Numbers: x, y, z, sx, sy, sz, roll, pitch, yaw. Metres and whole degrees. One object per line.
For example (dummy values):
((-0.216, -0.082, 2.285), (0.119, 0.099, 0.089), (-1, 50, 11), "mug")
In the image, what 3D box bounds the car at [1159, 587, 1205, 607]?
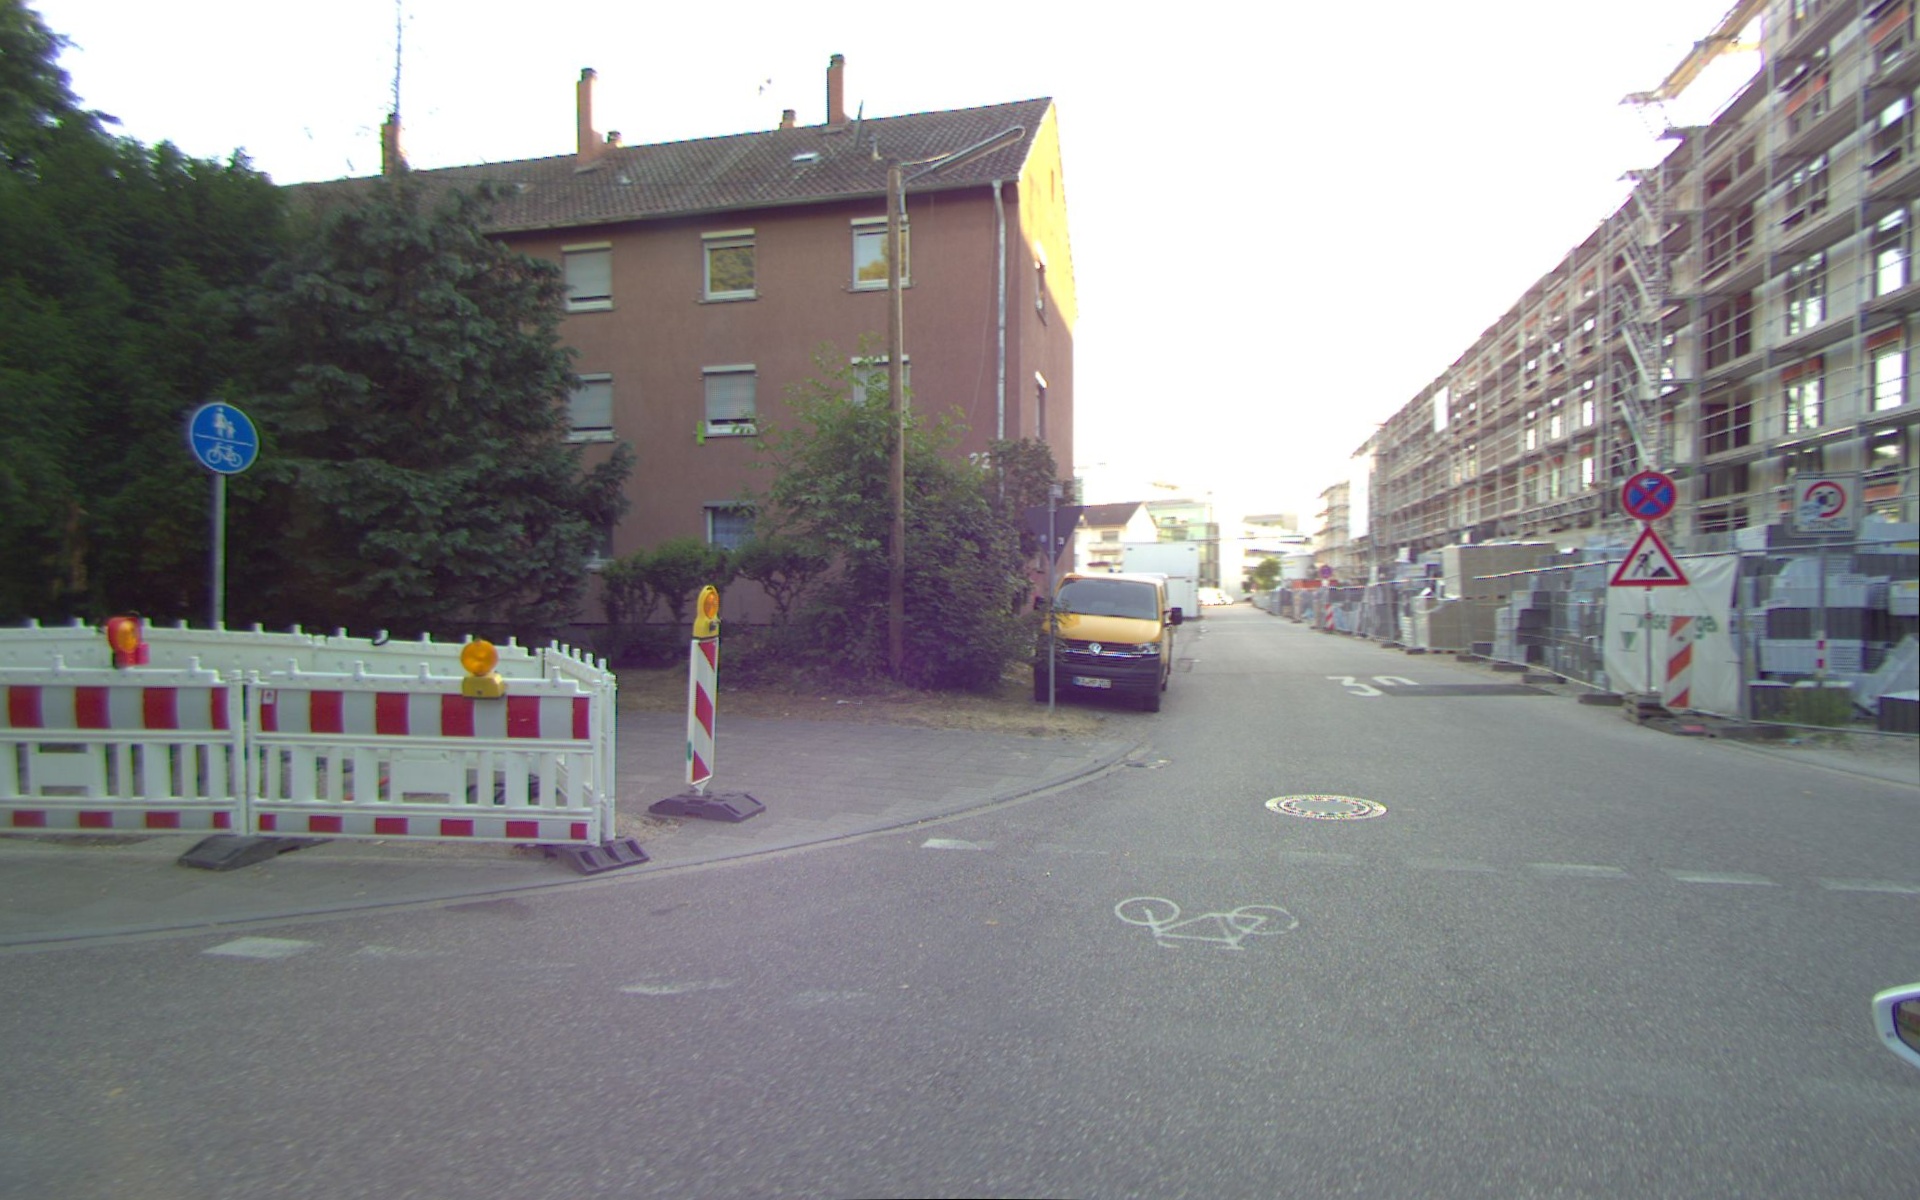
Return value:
((31.086, -0.464, 140.846), (6.221, 2.778, 2.001), (0, 1, 15), "car")

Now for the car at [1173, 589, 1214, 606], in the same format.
((36.201, -0.409, 155.755), (5.831, 2.523, 1.998), (0, 1, 25), "car")

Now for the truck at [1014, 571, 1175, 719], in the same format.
((2.399, 0.603, 16.422), (2.000, 1.938, 5.664), (2, 0, 13), "truck")

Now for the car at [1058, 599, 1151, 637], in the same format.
((6.164, 0.740, 42.754), (3.771, 1.448, 1.728), (1, 1, 12), "car")

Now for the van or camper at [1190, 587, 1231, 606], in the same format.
((41.953, -0.611, 168.335), (6.235, 3.019, 2.290), (1, 0, 27), "van or camper")

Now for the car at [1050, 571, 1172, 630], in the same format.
((7.335, 0.006, 48.639), (5.593, 2.661, 2.222), (1, 1, 16), "car")
